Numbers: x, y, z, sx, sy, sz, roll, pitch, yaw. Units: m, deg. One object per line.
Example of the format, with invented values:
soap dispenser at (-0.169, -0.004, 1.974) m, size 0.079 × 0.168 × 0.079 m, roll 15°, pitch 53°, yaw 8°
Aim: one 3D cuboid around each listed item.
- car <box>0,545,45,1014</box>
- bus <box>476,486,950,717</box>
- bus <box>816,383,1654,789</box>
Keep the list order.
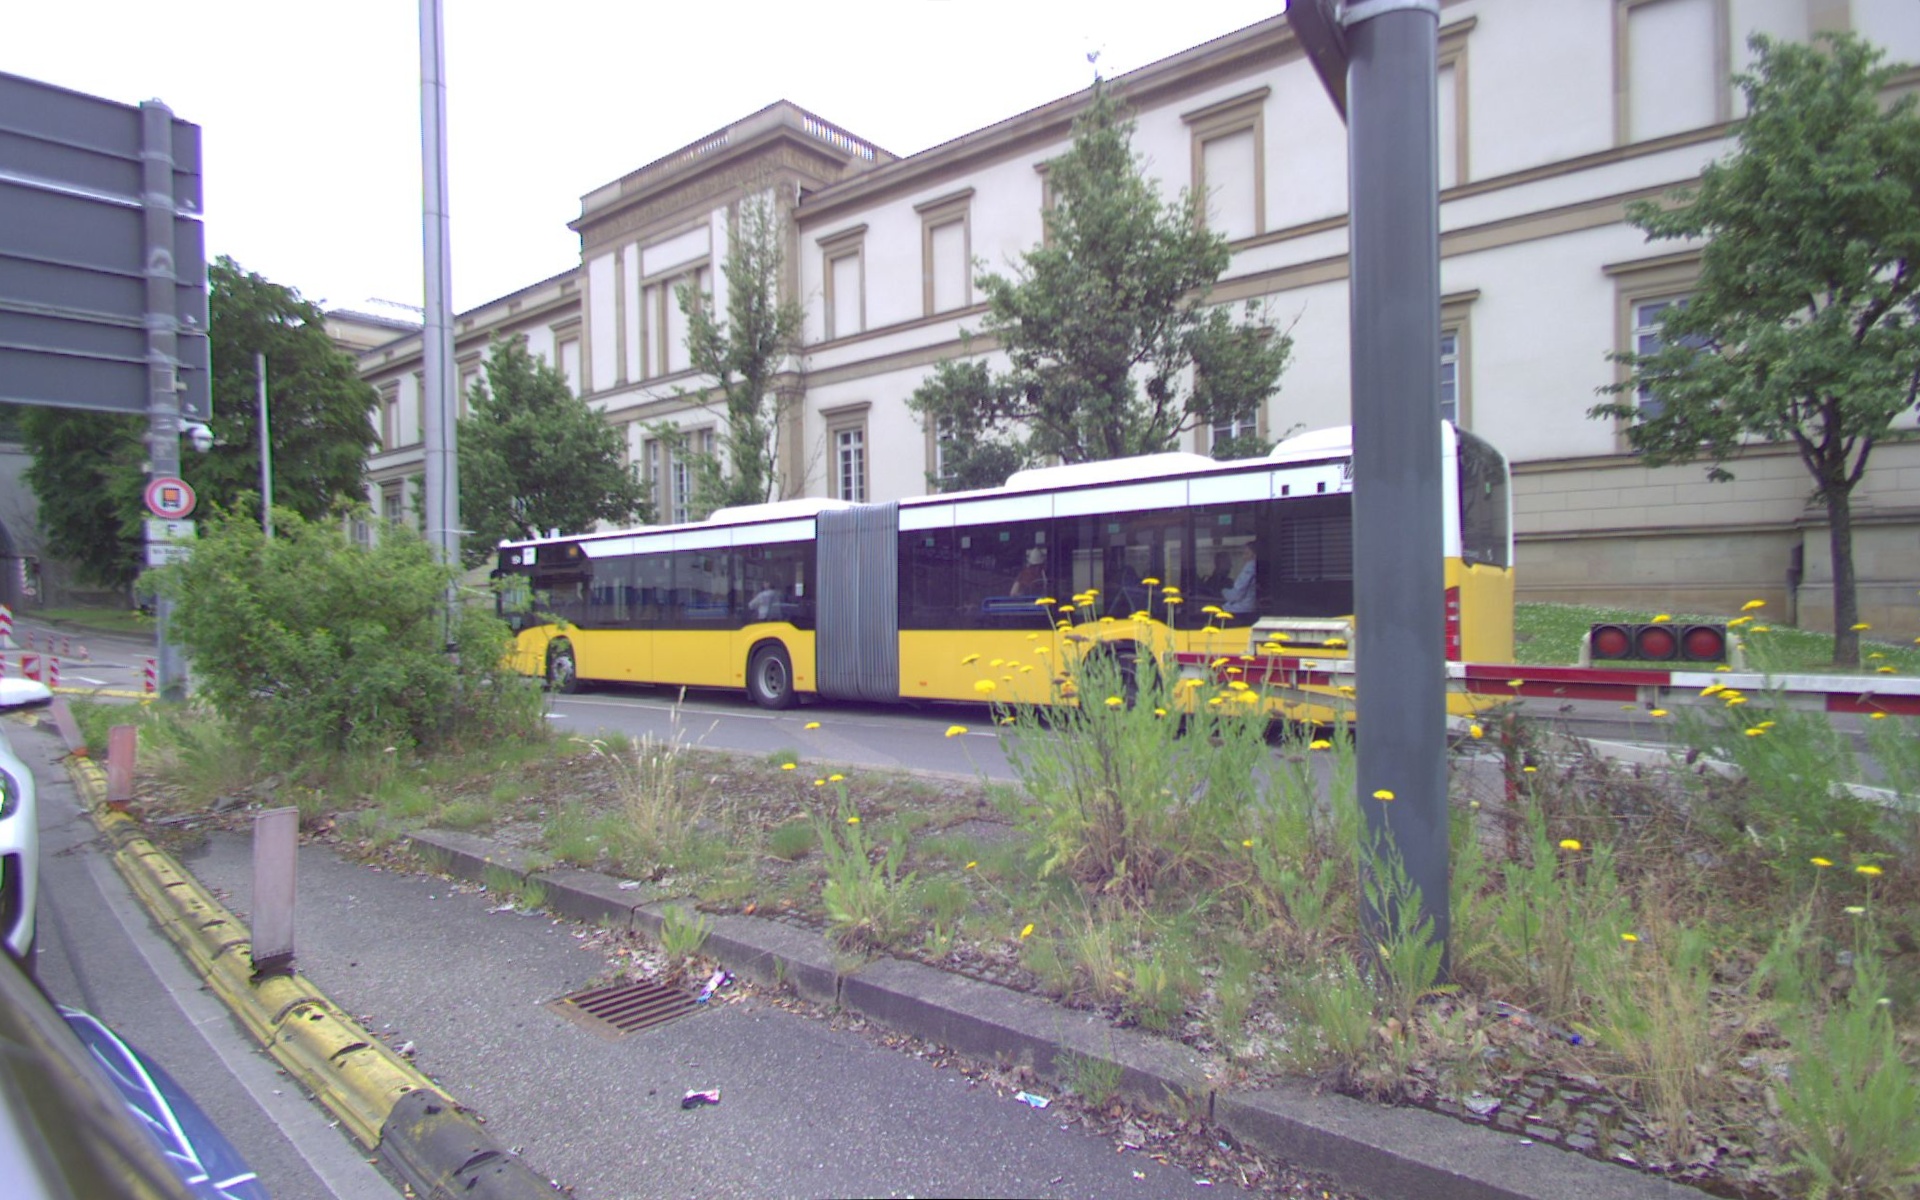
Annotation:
car at (-5.261, 0.668, 4.174) m, size 3.881 × 1.603 × 1.824 m, roll -2°, pitch 0°, yaw 42°
bus at (-4.839, 0.091, 17.915) m, size 9.738 × 3.137 × 2.818 m, roll -1°, pitch 0°, yaw 39°
bus at (2.451, -0.046, 11.857) m, size 9.114 × 3.137 × 2.817 m, roll -1°, pitch 0°, yaw 40°
